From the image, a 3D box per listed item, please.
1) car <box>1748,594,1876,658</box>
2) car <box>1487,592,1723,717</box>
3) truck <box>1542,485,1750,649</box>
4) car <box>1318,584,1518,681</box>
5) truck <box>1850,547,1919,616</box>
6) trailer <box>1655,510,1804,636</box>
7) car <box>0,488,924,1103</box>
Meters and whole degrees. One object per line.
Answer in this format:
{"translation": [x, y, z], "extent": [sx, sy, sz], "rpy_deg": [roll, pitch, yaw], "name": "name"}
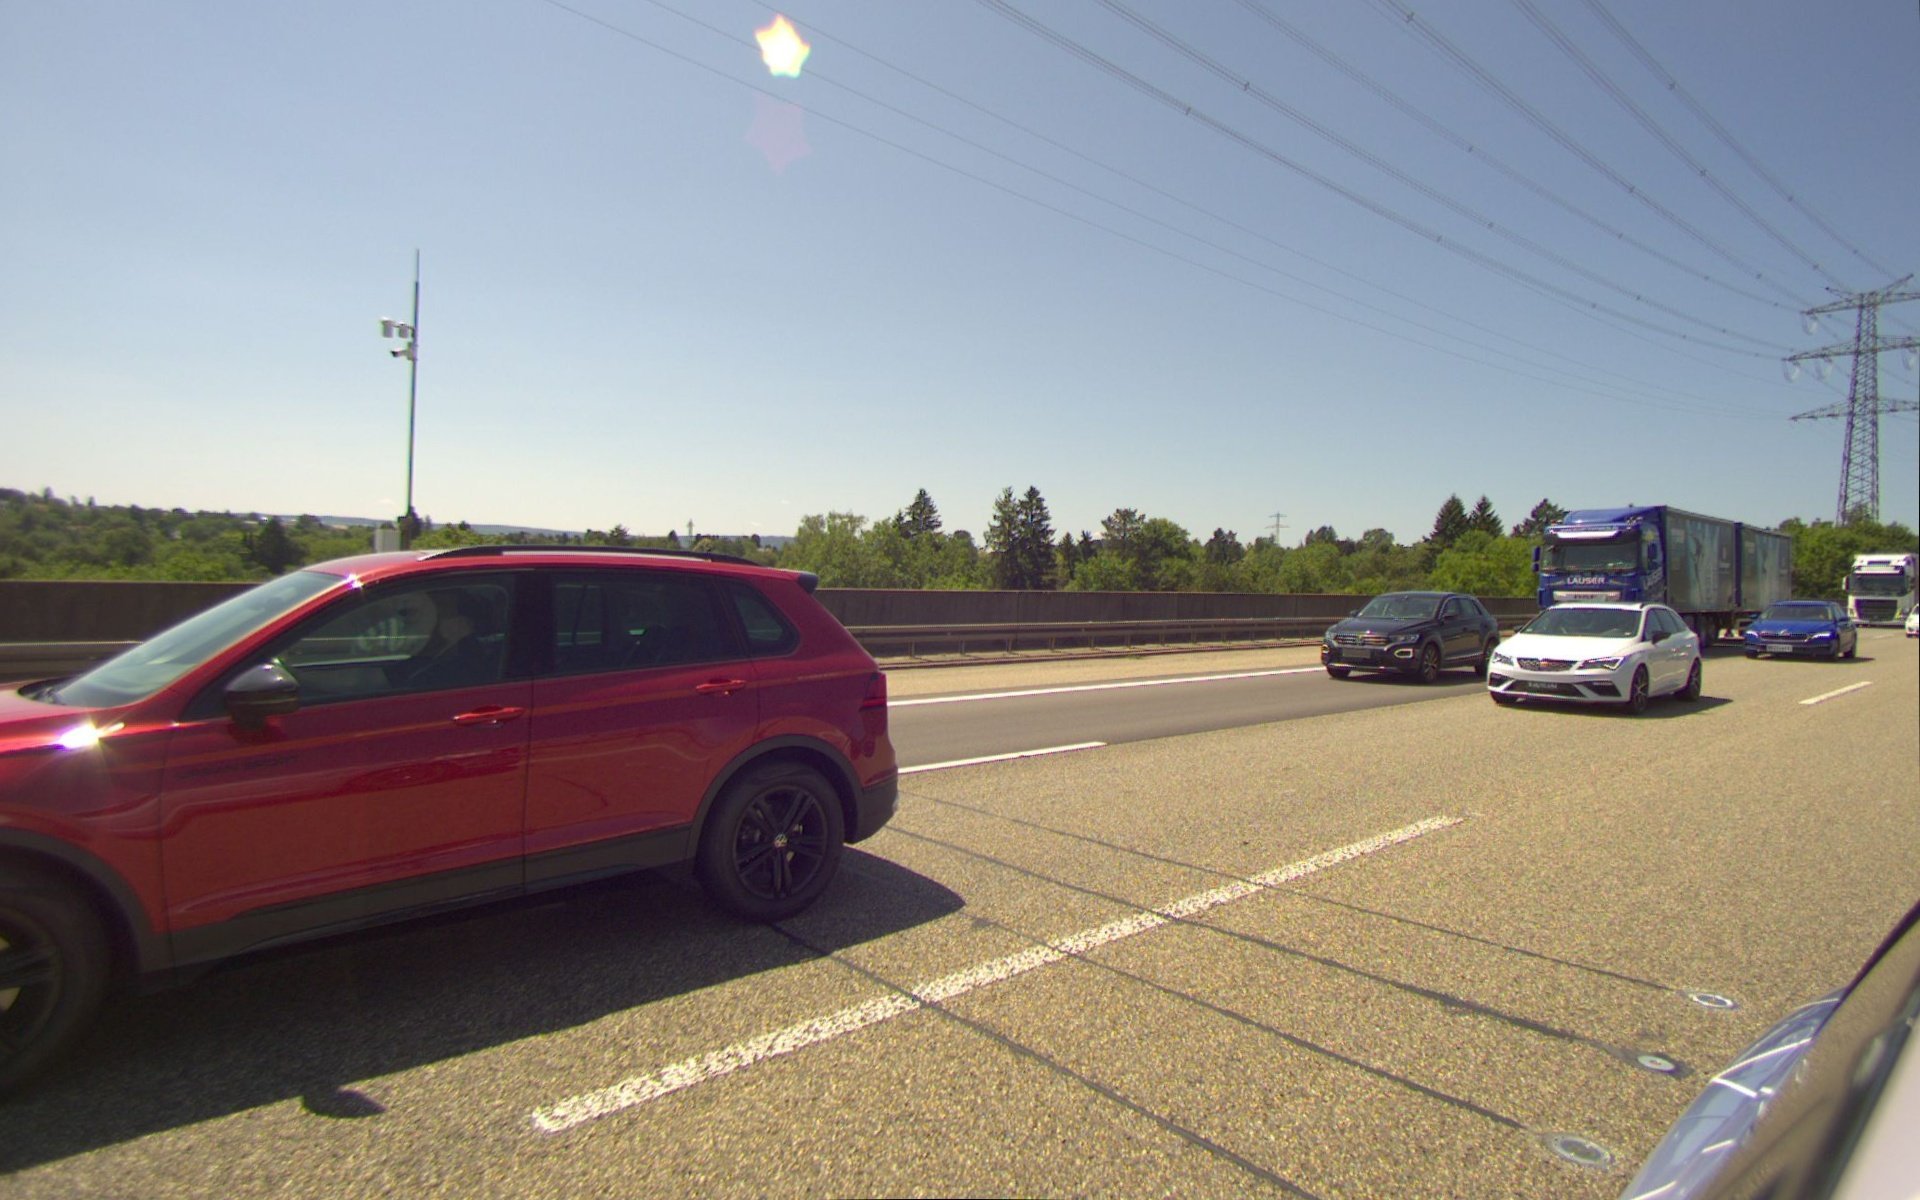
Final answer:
{"translation": [21.351, 0.596, 25.319], "extent": [4.135, 1.463, 1.739], "rpy_deg": [0, 1, -40], "name": "car"}
{"translation": [9.146, 0.645, 14.237], "extent": [4.003, 1.508, 1.841], "rpy_deg": [0, 0, -42], "name": "car"}
{"translation": [20.401, -0.888, 29.740], "extent": [10.265, 4.117, 2.527], "rpy_deg": [-1, 1, -41], "name": "truck"}
{"translation": [8.237, 0.505, 18.060], "extent": [4.034, 1.546, 1.739], "rpy_deg": [0, 0, -41], "name": "car"}
{"translation": [53.540, -1.023, 57.583], "extent": [10.776, 3.604, 2.983], "rpy_deg": [0, 0, -41], "name": "truck"}
{"translation": [27.395, -0.912, 35.862], "extent": [8.331, 3.994, 2.570], "rpy_deg": [-1, 1, -41], "name": "trailer"}
{"translation": [-2.314, 0.518, 4.220], "extent": [4.151, 1.683, 1.778], "rpy_deg": [0, 1, -41], "name": "car"}
